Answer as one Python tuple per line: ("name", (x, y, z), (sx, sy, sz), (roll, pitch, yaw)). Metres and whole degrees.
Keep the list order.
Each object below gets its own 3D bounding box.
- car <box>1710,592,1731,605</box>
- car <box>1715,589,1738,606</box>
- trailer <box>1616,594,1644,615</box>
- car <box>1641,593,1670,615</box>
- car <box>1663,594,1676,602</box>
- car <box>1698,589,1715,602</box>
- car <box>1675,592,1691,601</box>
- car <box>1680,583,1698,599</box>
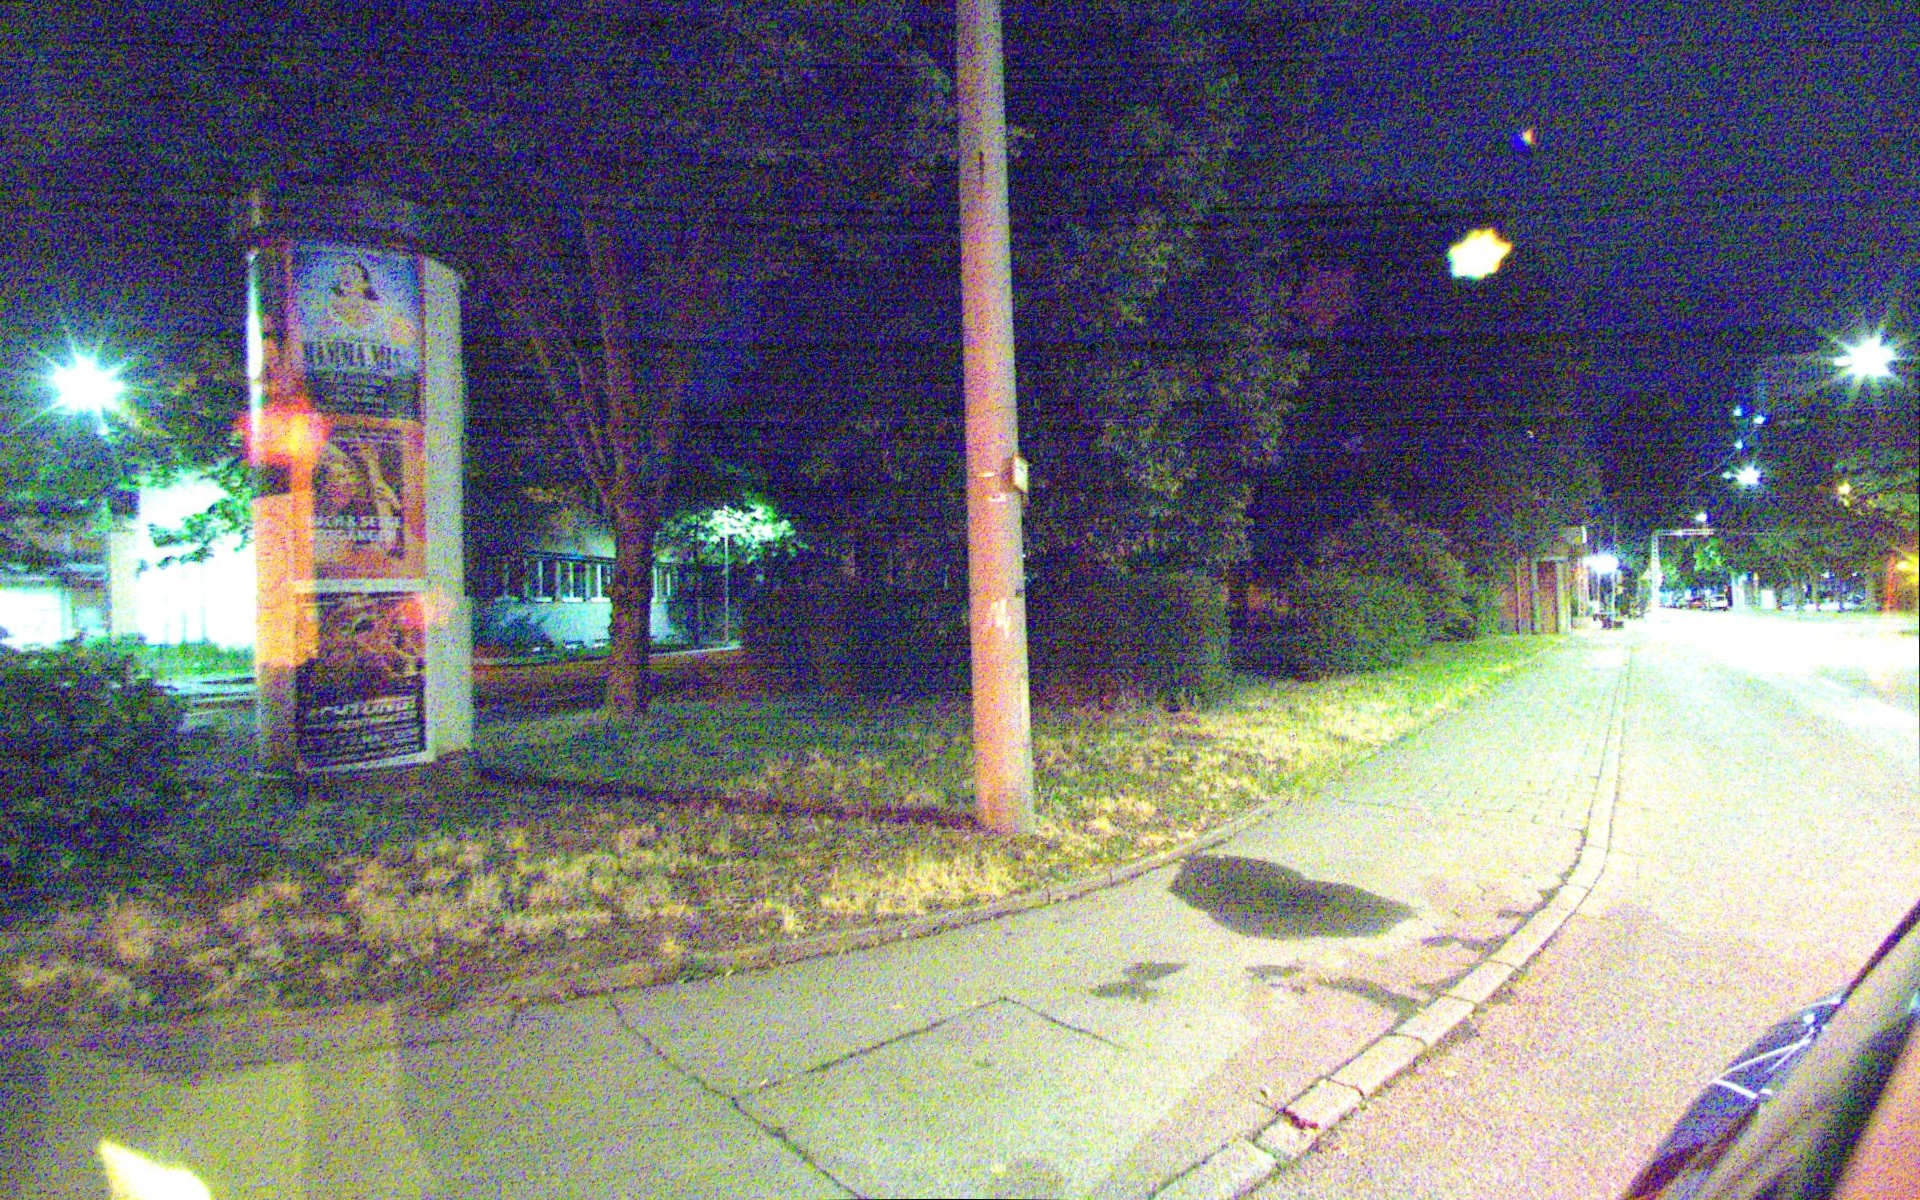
("car", (91.841, -0.195, 122.210), (1.815, 1.450, 3.684), (-5, -3, 35))
("car", (88.784, -0.325, 117.228), (1.871, 1.832, 3.684), (-5, -3, 35))
("trailer", (53.977, 0.353, 81.475), (1.596, 1.514, 3.683), (-3, -2, 38))
("car", (50.318, 0.277, 73.210), (1.582, 1.480, 3.747), (-3, -1, 36))
("car", (141.368, -0.477, 201.683), (1.813, 1.450, 3.688), (-5, -3, 32))
("car", (103.653, -0.639, 140.530), (1.815, 1.668, 3.684), (-1, 0, 35))
("car", (120.600, -0.574, 168.760), (1.813, 1.450, 3.688), (-5, -3, 32))
("car", (128.040, -1.534, 177.770), (1.990, 2.540, 4.897), (-5, -3, 32))
